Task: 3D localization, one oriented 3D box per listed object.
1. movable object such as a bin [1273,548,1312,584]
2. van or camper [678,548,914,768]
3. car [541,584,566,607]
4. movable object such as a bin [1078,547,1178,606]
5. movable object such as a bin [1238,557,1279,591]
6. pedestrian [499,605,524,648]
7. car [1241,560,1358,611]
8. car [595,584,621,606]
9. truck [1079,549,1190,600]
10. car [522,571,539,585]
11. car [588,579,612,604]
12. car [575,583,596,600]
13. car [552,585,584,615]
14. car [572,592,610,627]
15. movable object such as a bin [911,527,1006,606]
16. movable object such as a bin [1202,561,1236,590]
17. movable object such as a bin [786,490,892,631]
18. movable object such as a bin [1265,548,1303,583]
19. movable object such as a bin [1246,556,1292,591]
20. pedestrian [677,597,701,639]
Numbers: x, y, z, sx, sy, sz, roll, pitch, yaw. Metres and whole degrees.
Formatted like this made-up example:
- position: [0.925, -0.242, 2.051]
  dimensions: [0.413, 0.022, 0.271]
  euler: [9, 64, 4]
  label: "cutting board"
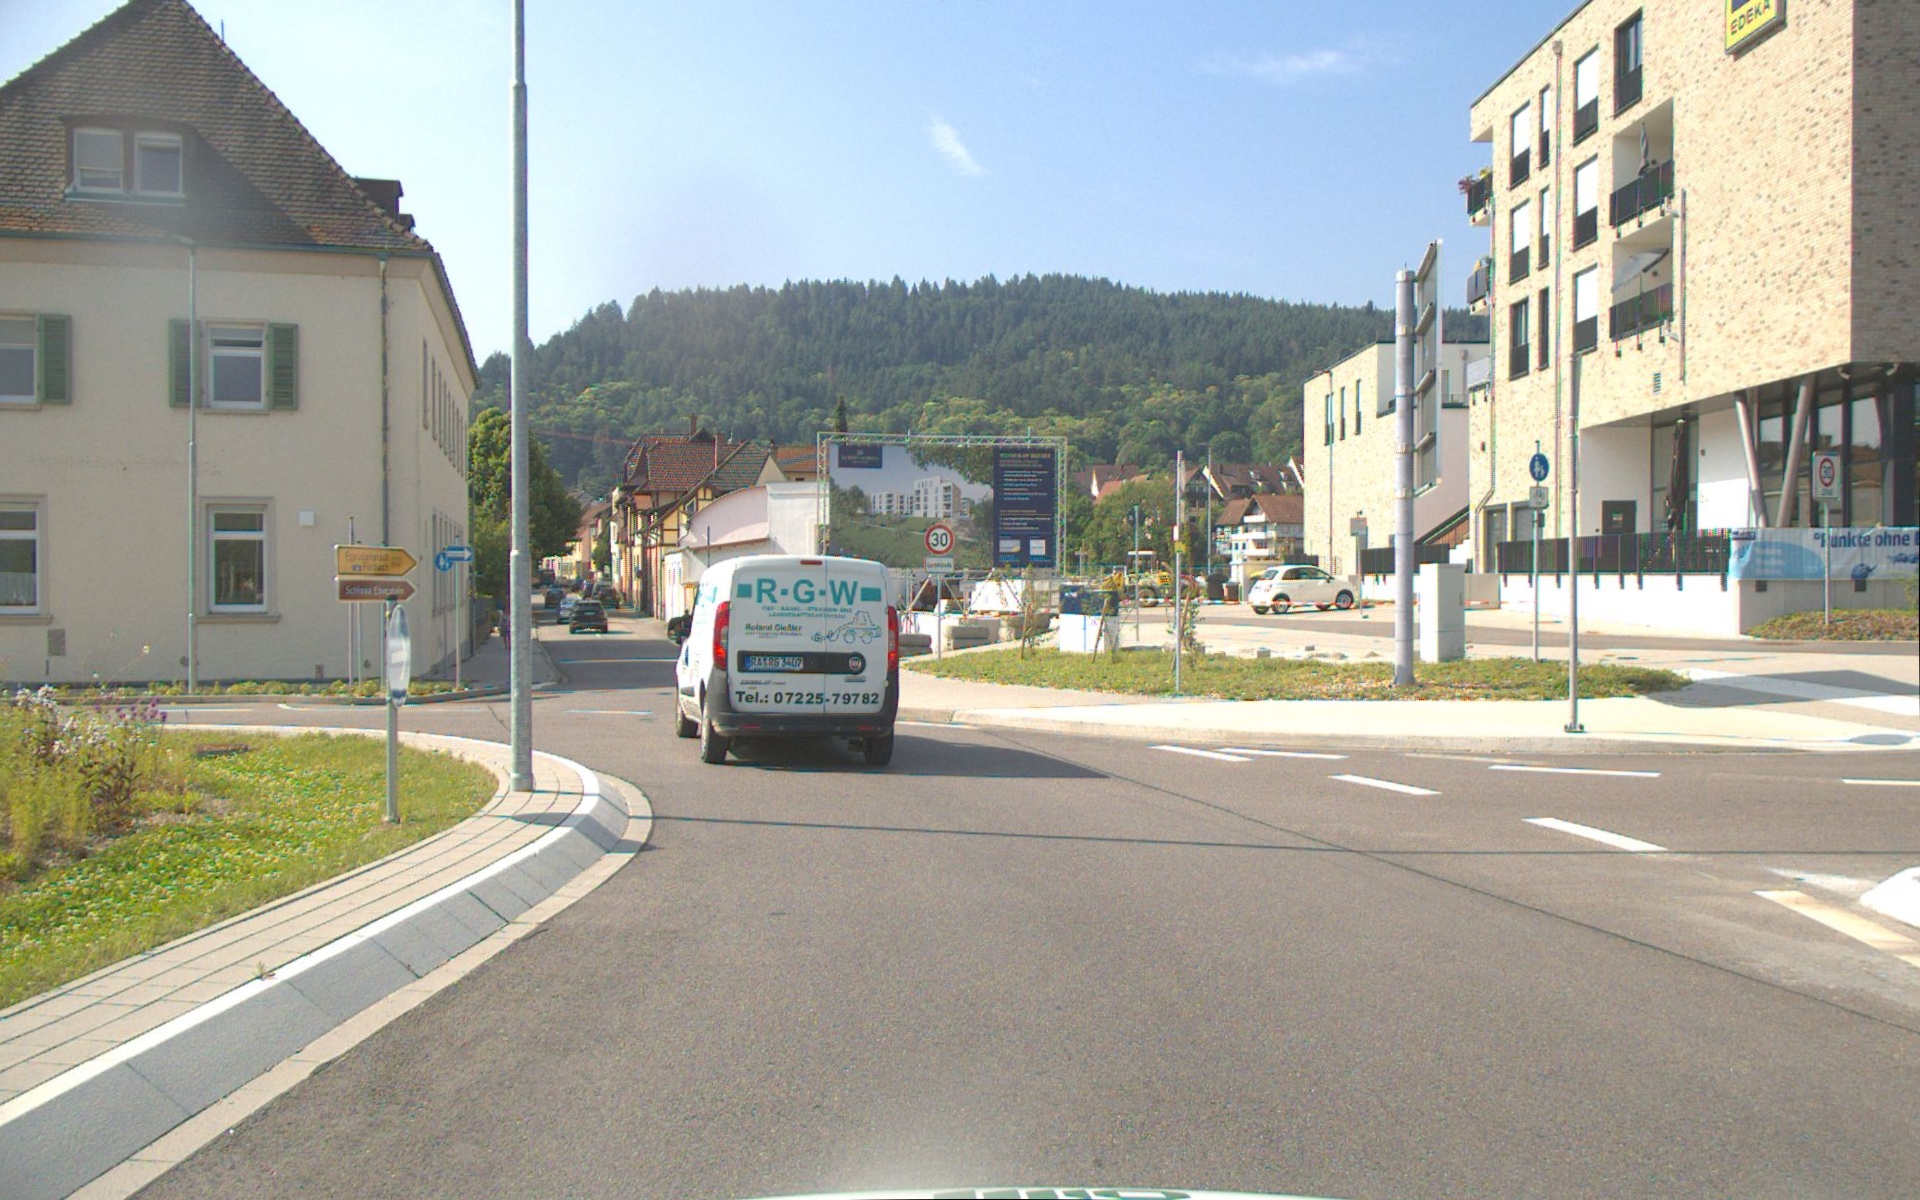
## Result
- position: [14.327, -1.478, 71.273]
  dimensions: [1.274, 1.489, 1.319]
  euler: [2, 1, -5]
  label: "movable object such as a bin"
- position: [-1.751, 0.491, 16.332]
  dimensions: [1.797, 1.877, 4.174]
  euler: [0, 0, -13]
  label: "van or camper"
- position: [-32.383, -0.368, 131.936]
  dimensions: [1.779, 1.624, 3.914]
  euler: [2, 1, -13]
  label: "car"
- position: [7.968, -1.107, 78.189]
  dimensions: [4.513, 2.614, 1.927]
  euler: [-2, 0, 11]
  label: "movable object such as a bin"
- position: [13.694, -1.177, 75.903]
  dimensions: [1.549, 1.489, 1.319]
  euler: [2, 1, -5]
  label: "movable object such as a bin"
- position: [-17.565, 1.049, 64.781]
  dimensions: [0.942, 1.659, 0.755]
  euler: [1, 0, -15]
  label: "pedestrian"
- position: [10.973, -0.470, 53.522]
  dimensions: [3.349, 1.521, 1.587]
  euler: [-2, -1, -16]
  label: "car"
- position: [-27.924, -0.400, 131.209]
  dimensions: [1.780, 1.624, 3.912]
  euler: [2, 1, -14]
  label: "car"
- position: [8.619, -1.241, 81.427]
  dimensions: [5.201, 2.305, 2.221]
  euler: [-2, 0, 11]
  label: "truck"
- position: [-54.043, -2.786, 208.097]
  dimensions: [1.783, 1.624, 3.905]
  euler: [2, 1, -19]
  label: "car"
- position: [-30.674, -0.709, 140.797]
  dimensions: [1.840, 2.049, 3.984]
  euler: [1, 1, -15]
  label: "car"
- position: [-35.454, -0.836, 156.551]
  dimensions: [1.643, 1.534, 3.982]
  euler: [-1, 1, -17]
  label: "car"
- position: [-23.334, -0.001, 98.582]
  dimensions: [1.779, 1.624, 3.914]
  euler: [2, 1, -13]
  label: "car"
- position: [-18.812, 0.454, 84.344]
  dimensions: [1.779, 1.624, 3.914]
  euler: [2, 1, -13]
  label: "car"
- position: [-0.011, -1.609, 81.469]
  dimensions: [2.791, 3.684, 5.737]
  euler: [2, 1, 20]
  label: "movable object such as a bin"
- position: [12.214, -1.169, 78.134]
  dimensions: [1.270, 1.290, 1.319]
  euler: [2, 1, -5]
  label: "movable object such as a bin"
- position: [-3.828, -1.130, 50.839]
  dimensions: [2.254, 3.921, 7.778]
  euler: [2, 0, -11]
  label: "movable object such as a bin"
- position: [14.208, -1.510, 72.654]
  dimensions: [1.274, 1.489, 1.319]
  euler: [2, 1, -5]
  label: "movable object such as a bin"
- position: [13.844, -1.188, 74.161]
  dimensions: [1.660, 1.489, 1.319]
  euler: [2, 1, -5]
  label: "movable object such as a bin"
- position: [-11.152, 0.750, 67.996]
  dimensions: [0.874, 1.712, 0.715]
  euler: [1, -1, -15]
  label: "pedestrian"
